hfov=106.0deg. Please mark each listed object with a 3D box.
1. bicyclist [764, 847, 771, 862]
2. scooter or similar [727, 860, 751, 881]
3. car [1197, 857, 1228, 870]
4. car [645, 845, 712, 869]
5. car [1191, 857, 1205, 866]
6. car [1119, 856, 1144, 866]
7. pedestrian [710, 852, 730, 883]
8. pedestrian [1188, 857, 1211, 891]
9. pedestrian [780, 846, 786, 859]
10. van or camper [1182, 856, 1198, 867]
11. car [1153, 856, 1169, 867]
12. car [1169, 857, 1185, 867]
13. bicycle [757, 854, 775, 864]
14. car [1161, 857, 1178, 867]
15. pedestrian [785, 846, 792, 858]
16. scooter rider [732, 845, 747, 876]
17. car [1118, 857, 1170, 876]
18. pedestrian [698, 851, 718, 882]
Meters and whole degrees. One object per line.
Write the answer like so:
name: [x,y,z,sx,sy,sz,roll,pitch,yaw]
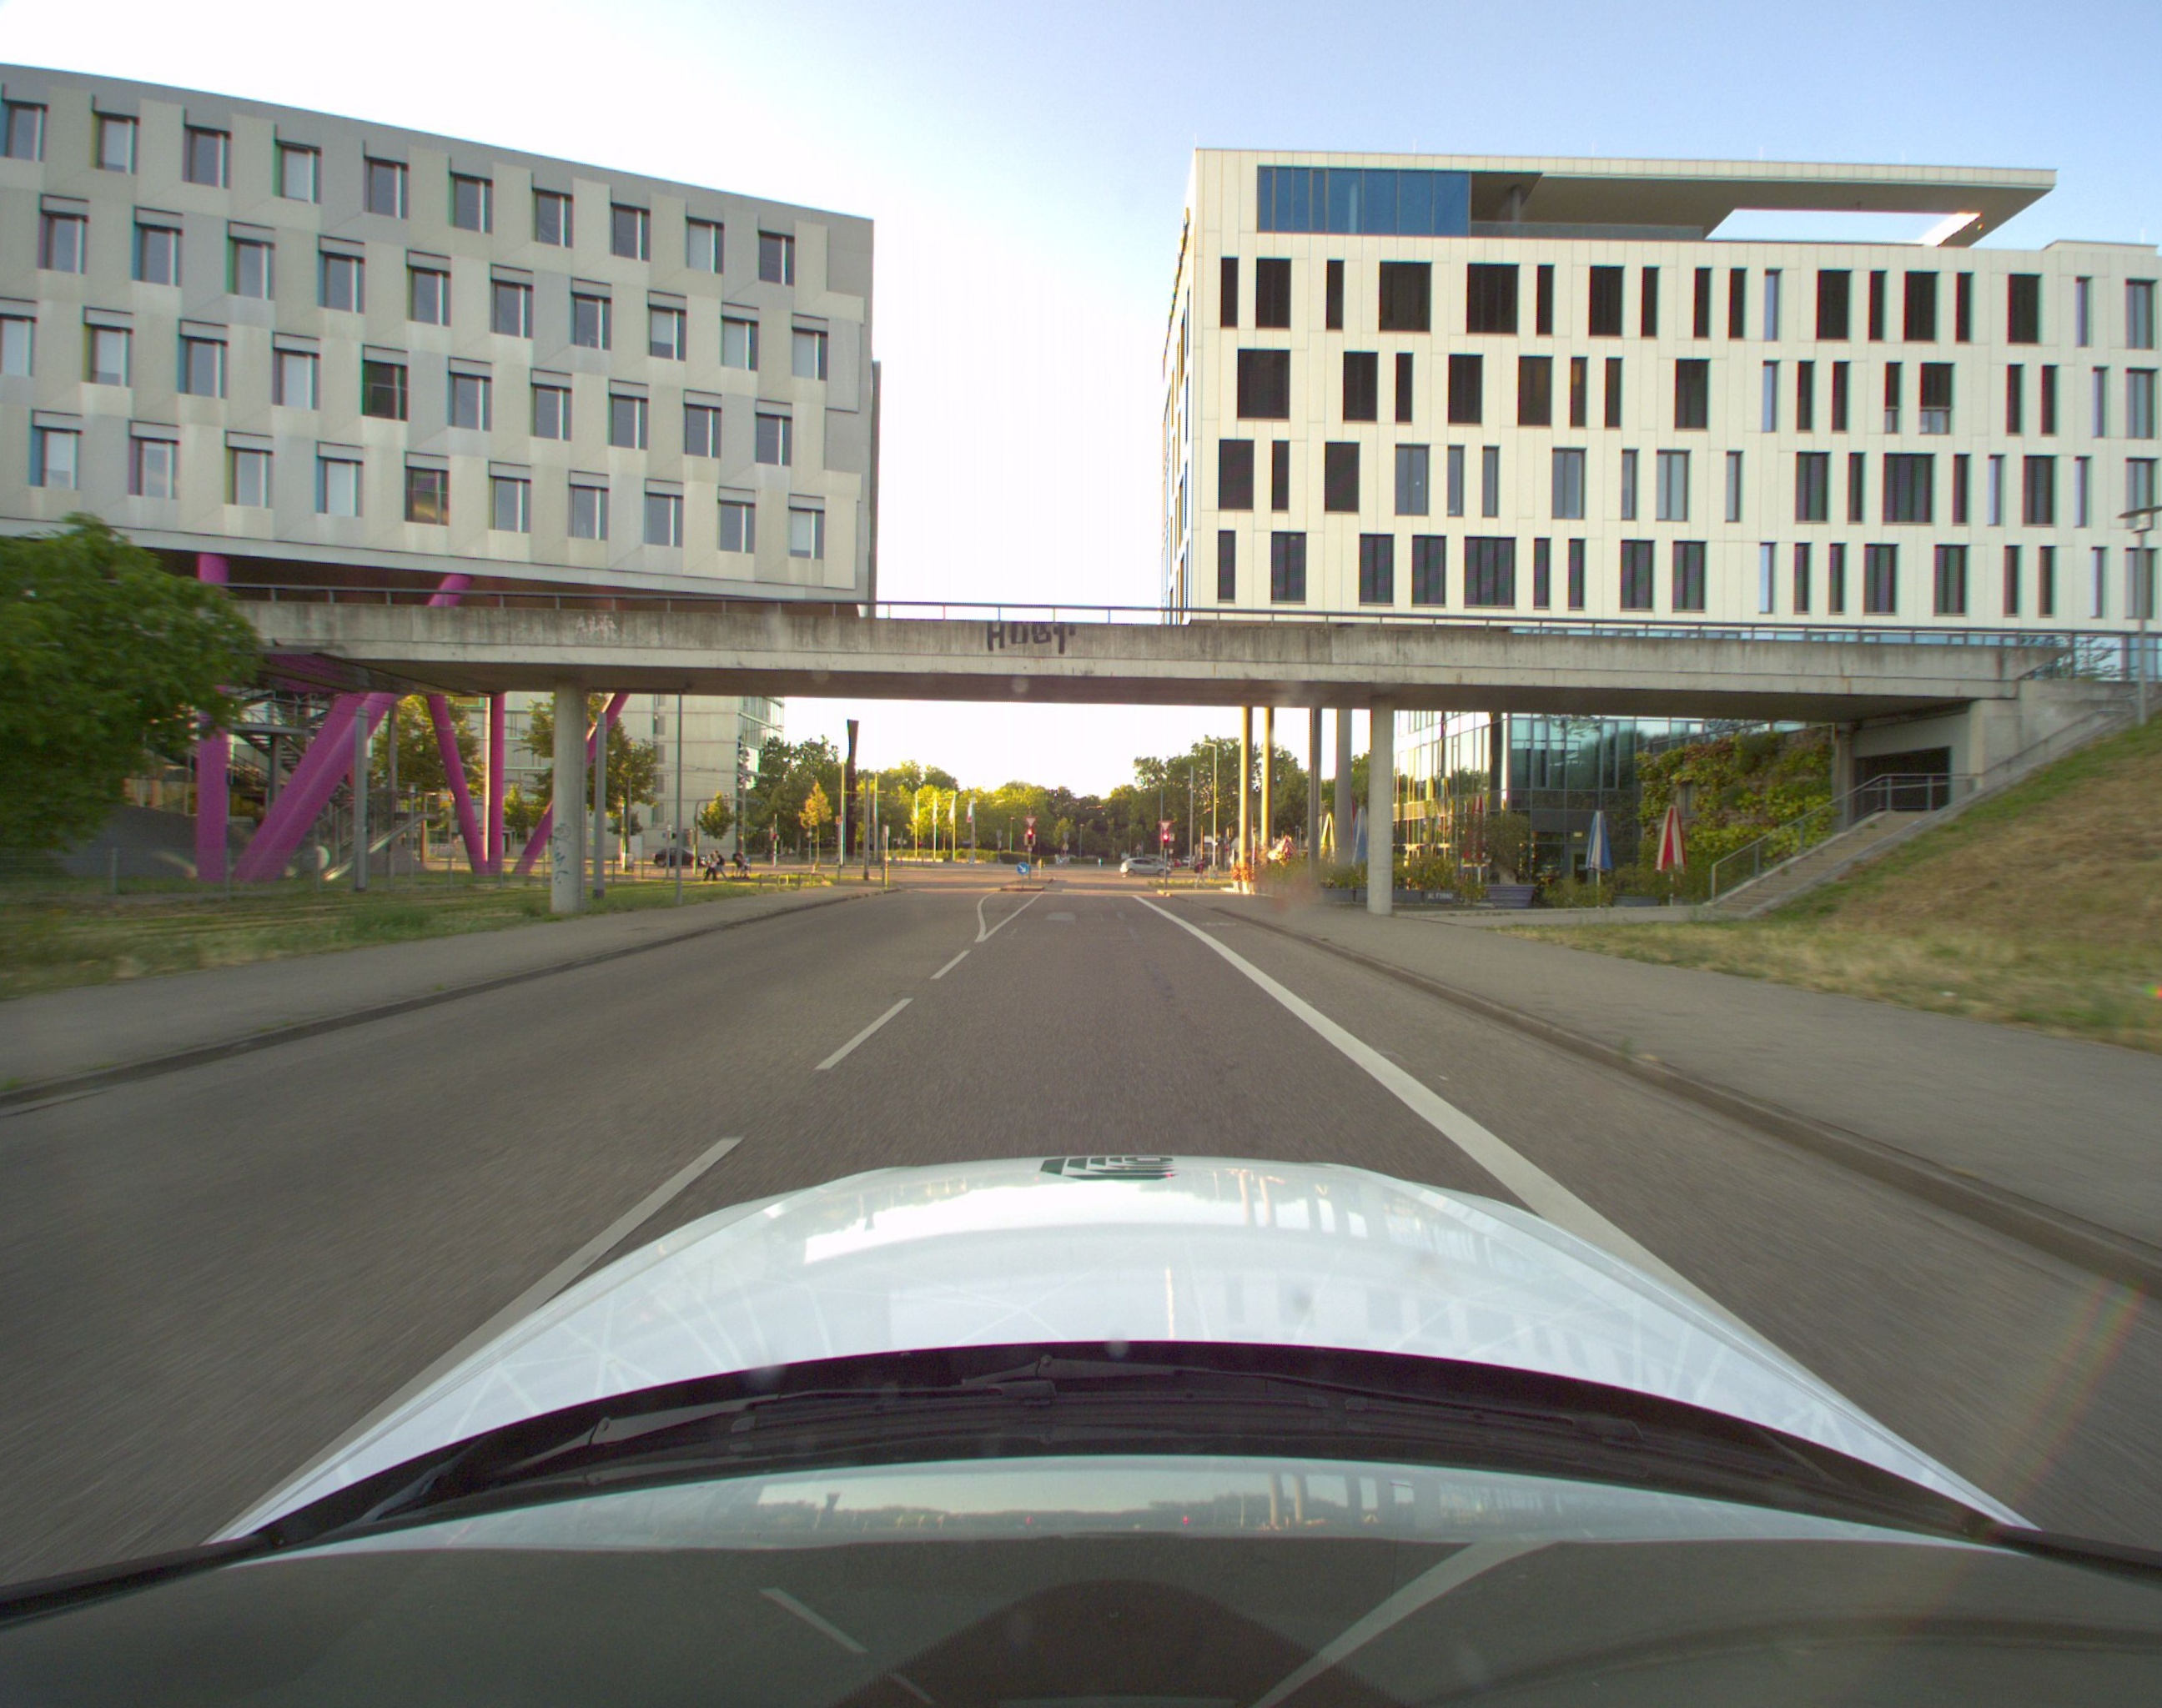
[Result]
bicyclist: [-36.921,0.065,95.960,0.760,1.723,0.548,0,1,-25]
scooter or similar: [-20.089,0.977,47.826,1.211,1.200,0.503,1,1,-4]
car: [19.579,1.340,121.480,4.444,1.816,1.949,1,1,6]
car: [-32.610,0.243,66.062,4.454,1.816,1.944,1,1,-1]
car: [21.154,1.295,147.126,1.483,1.477,3.103,1,1,27]
car: [9.591,1.298,155.282,4.659,1.869,2.017,1,1,7]
pedestrian: [-20.108,0.746,45.397,0.694,1.664,0.715,1,1,18]
pedestrian: [6.575,1.087,45.213,1.054,1.833,0.891,0,1,-13]
pedestrian: [-46.458,-0.299,126.930,0.690,2.013,0.702,1,1,20]
van or camper: [21.866,1.504,163.219,1.609,1.982,3.830,1,1,31]
car: [12.615,1.156,128.292,1.483,1.760,3.423,1,1,27]
car: [16.005,1.311,135.647,1.483,1.606,3.423,1,1,27]
bicycle: [-37.087,0.603,95.905,1.972,1.128,0.556,0,1,-25]
car: [14.347,1.277,131.891,1.483,1.606,3.423,1,1,27]
pedestrian: [-45.974,-0.313,128.116,0.690,2.013,0.702,1,1,20]
scooter rider: [-20.058,0.393,47.829,0.704,1.782,0.442,1,1,-3]
car: [4.989,0.995,64.988,4.012,1.419,1.602,1,1,-2]
pedestrian: [-20.428,0.679,44.650,0.680,1.624,0.715,1,1,18]
